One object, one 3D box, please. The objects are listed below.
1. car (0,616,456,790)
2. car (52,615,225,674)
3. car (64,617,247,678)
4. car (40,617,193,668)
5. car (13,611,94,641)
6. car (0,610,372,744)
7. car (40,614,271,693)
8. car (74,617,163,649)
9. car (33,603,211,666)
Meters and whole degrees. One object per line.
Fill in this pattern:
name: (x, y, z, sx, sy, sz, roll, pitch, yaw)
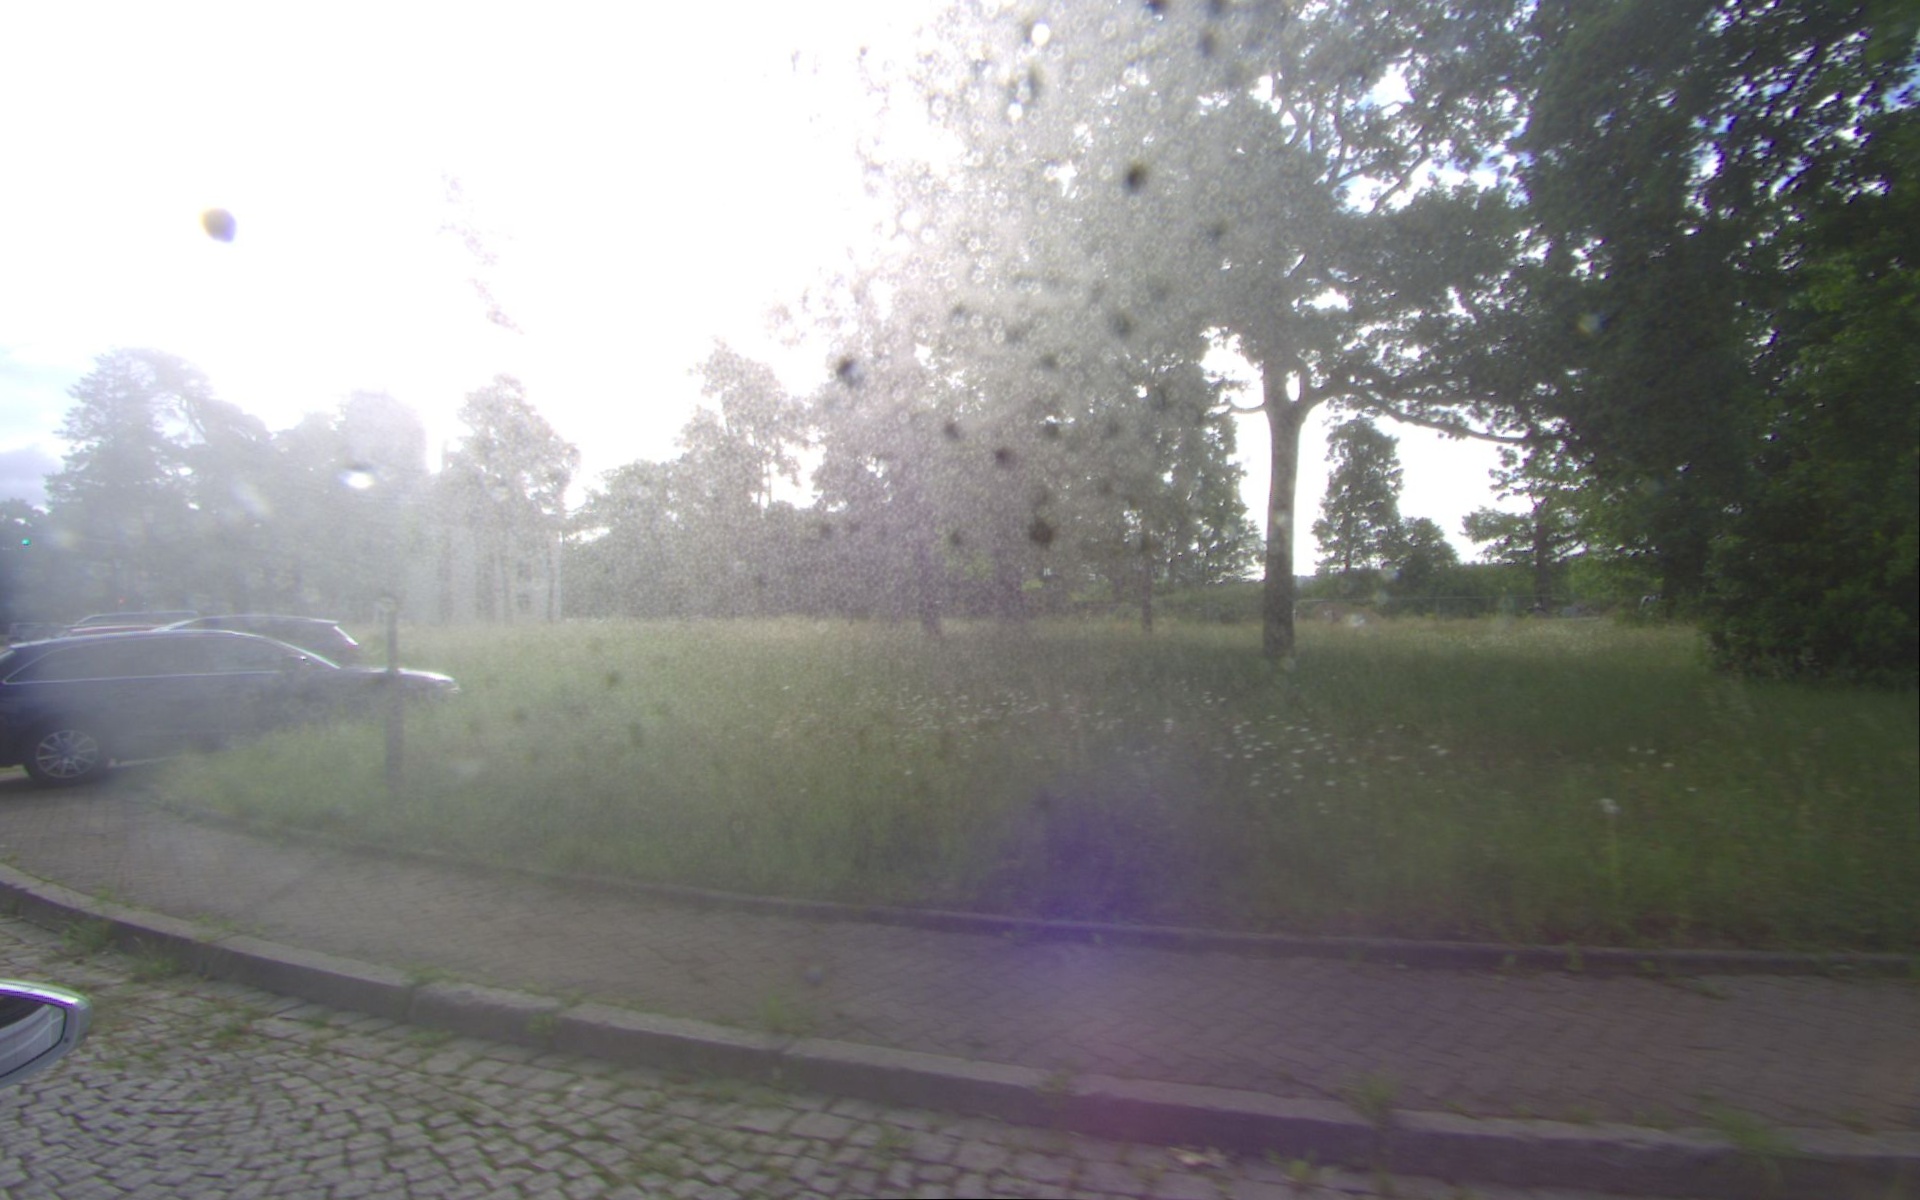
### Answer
car: (-8.039, 0.977, 10.794, 4.393, 1.499, 1.669, -1, 0, -39)
car: (-24.567, 1.277, 30.027, 3.881, 1.624, 1.803, 0, -1, -44)
car: (-22.656, 1.299, 28.296, 3.911, 1.540, 1.692, -1, -1, -42)
car: (-29.126, 1.423, 34.642, 3.891, 1.412, 1.726, -4, 3, -44)
car: (-92.242, 2.617, 101.928, 2.740, 2.598, 5.745, 0, 3, 43)
car: (-11.089, 0.981, 14.548, 4.109, 1.594, 1.773, -1, 1, -43)
car: (-17.733, 1.111, 22.194, 3.855, 1.498, 1.656, -1, 0, -42)
car: (-45.657, 1.775, 54.374, 1.608, 1.452, 3.428, 0, 3, 38)
car: (-30.495, 1.183, 36.530, 4.786, 1.891, 2.141, -4, 3, -44)
